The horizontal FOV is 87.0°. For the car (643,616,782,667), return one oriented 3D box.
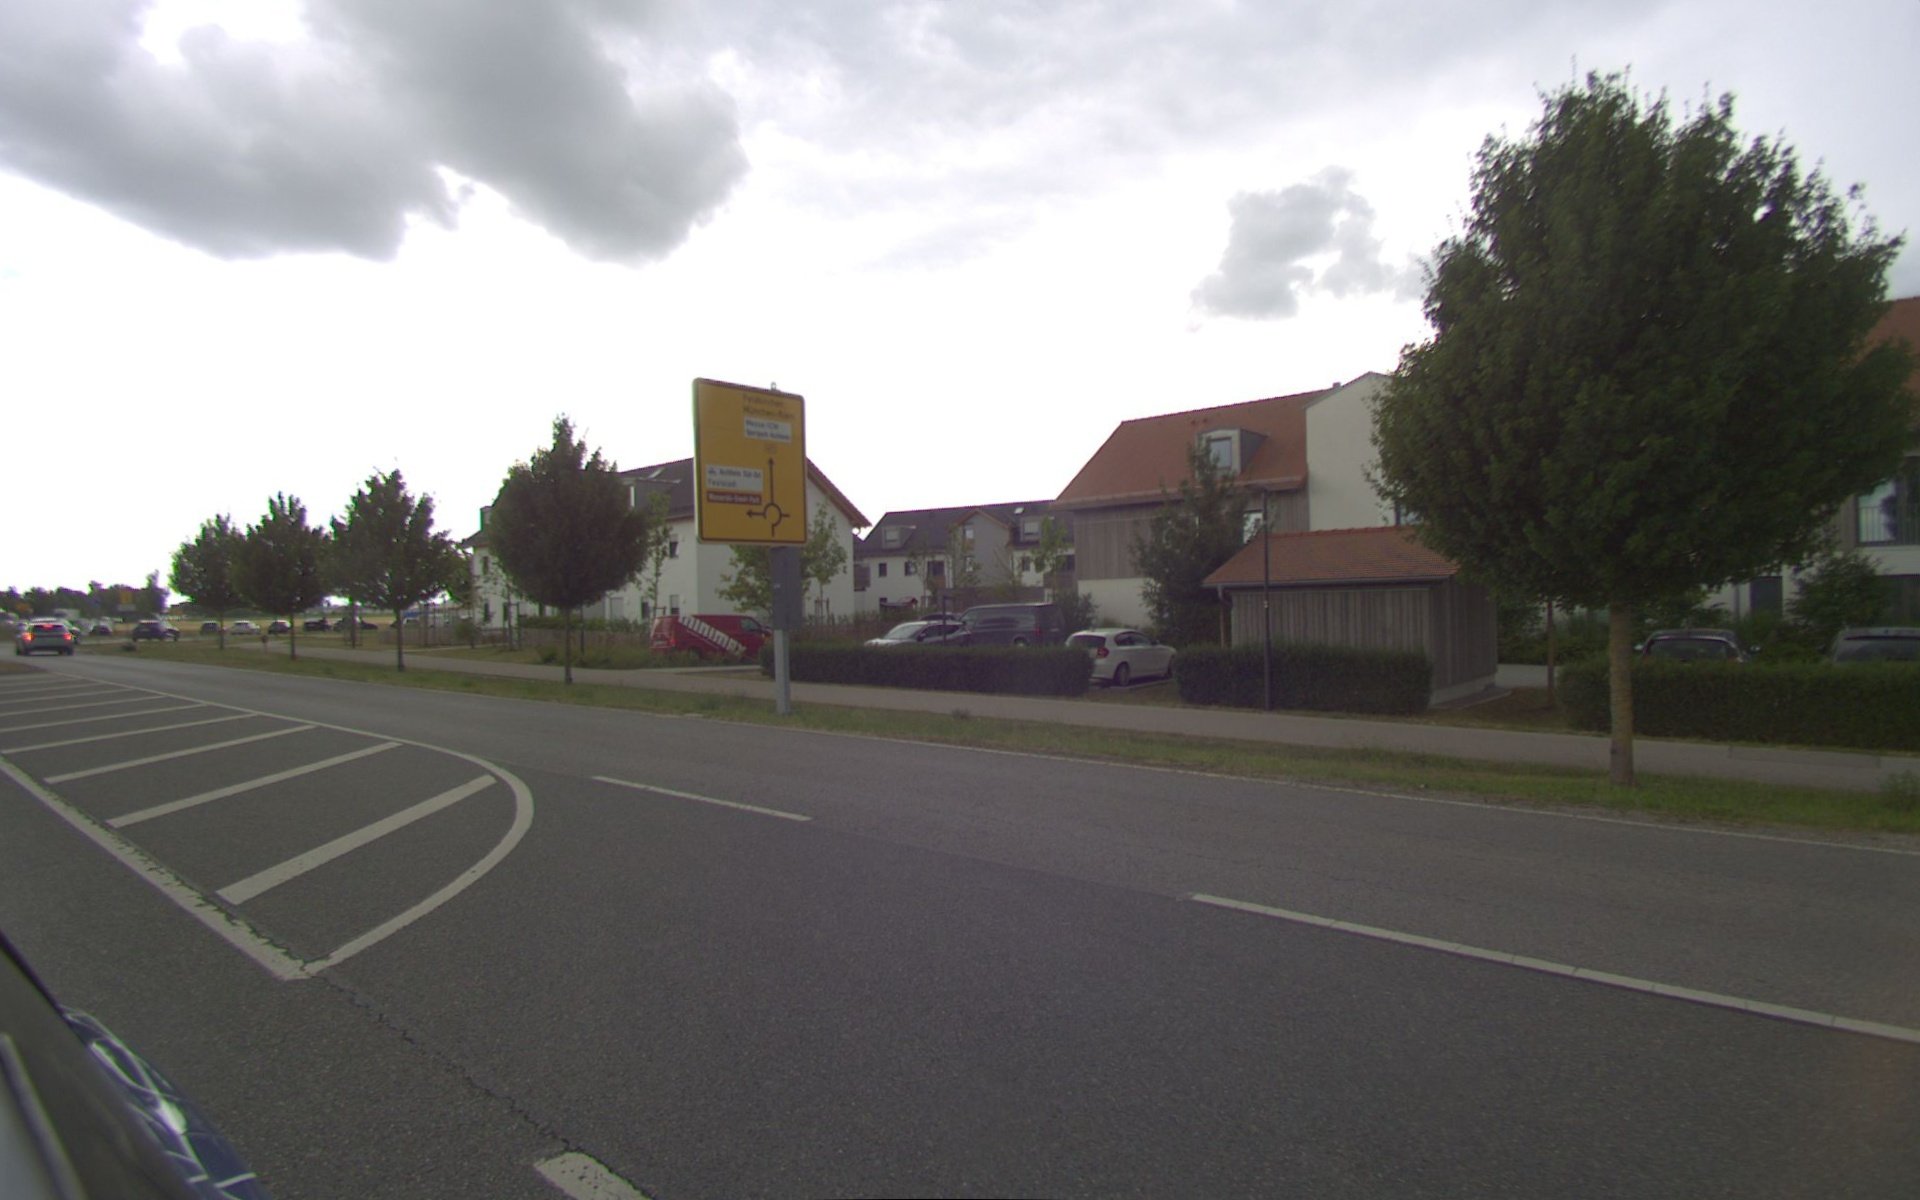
[{"bbox_3d":[-9.311,1.536,38.398,4.848,1.830,1.907,1,-2,-44],"label":"car"}]

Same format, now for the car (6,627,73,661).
[{"bbox_3d":[-41.254,1.939,45.323,3.997,1.455,1.752,-2,-2,41],"label":"car"}]

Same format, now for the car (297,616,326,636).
[{"bbox_3d":[-67.324,2.733,105.129,1.965,2.029,4.013,0,-2,-25],"label":"car"}]

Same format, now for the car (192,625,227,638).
[{"bbox_3d":[-75.512,3.188,101.870,1.965,1.298,4.013,0,-2,-25],"label":"car"}]

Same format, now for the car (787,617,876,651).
[{"bbox_3d":[-6.053,1.575,47.510,3.997,1.519,1.973,-2,-2,41],"label":"car"}]

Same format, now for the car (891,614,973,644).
[{"bbox_3d":[-1.492,1.504,52.796,3.997,1.519,1.973,-2,-2,41],"label":"car"}]

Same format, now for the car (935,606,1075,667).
[{"bbox_3d":[1.625,1.365,38.291,5.201,2.028,1.972,-2,2,44],"label":"car"}]

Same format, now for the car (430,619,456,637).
[{"bbox_3d":[-57.065,3.100,111.710,2.194,2.029,4.013,0,-2,-22],"label":"car"}]

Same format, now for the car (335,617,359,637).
[{"bbox_3d":[-64.390,2.814,106.232,1.967,2.029,4.010,1,-2,-34],"label":"car"}]

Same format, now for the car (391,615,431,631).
[{"bbox_3d":[-68.130,2.864,125.573,1.991,2.029,3.962,-1,-2,28],"label":"car"}]

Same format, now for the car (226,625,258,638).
[{"bbox_3d":[-72.887,3.200,102.798,1.965,1.298,4.013,0,-2,-25],"label":"car"}]

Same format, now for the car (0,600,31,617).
[{"bbox_3d":[-88.450,0.819,94.740,3.997,1.455,1.752,-2,-2,41],"label":"car"}]

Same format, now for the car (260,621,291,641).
[{"bbox_3d":[-70.456,3.227,104.210,1.965,2.029,4.013,0,-2,-25],"label":"car"}]

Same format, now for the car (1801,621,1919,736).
[{"bbox_3d":[14.783,1.158,16.085,1.999,1.630,3.944,-2,-2,42],"label":"car"}]

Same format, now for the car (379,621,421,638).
[{"bbox_3d":[-67.018,3.527,121.230,1.991,2.029,3.962,-1,-2,28],"label":"car"}]

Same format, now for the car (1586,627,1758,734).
[{"bbox_3d":[12.581,1.308,17.784,1.999,1.630,3.944,-2,-2,42],"label":"car"}]

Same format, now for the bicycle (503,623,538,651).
[{"bbox_3d":[-22.631,1.902,52.103,2.342,1.423,0.675,-2,-2,41],"label":"bicycle"}]

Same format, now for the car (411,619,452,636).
[{"bbox_3d":[-62.850,3.257,120.420,1.993,2.029,3.957,-1,-2,32],"label":"car"}]

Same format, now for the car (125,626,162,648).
[{"bbox_3d":[-55.607,2.498,68.972,1.747,1.455,4.009,1,-2,-36],"label":"car"}]

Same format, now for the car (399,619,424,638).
[{"bbox_3d":[-60.219,3.100,111.125,1.965,2.029,4.013,0,-2,-22],"label":"car"}]

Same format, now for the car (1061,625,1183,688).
[{"bbox_3d":[4.244,1.414,26.284,1.562,1.501,3.478,-2,-2,40],"label":"car"}]

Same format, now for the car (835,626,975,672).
[{"bbox_3d":[-1.788,1.610,34.381,1.905,1.441,4.854,-2,-2,41],"label":"car"}]

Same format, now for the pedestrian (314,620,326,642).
[{"bbox_3d":[-44.799,2.179,70.863,0.586,1.541,0.540,-2,0,40],"label":"pedestrian"}]

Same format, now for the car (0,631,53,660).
[{"bbox_3d":[-53.084,2.578,57.441,4.213,1.594,1.807,-2,-3,41],"label":"car"}]
